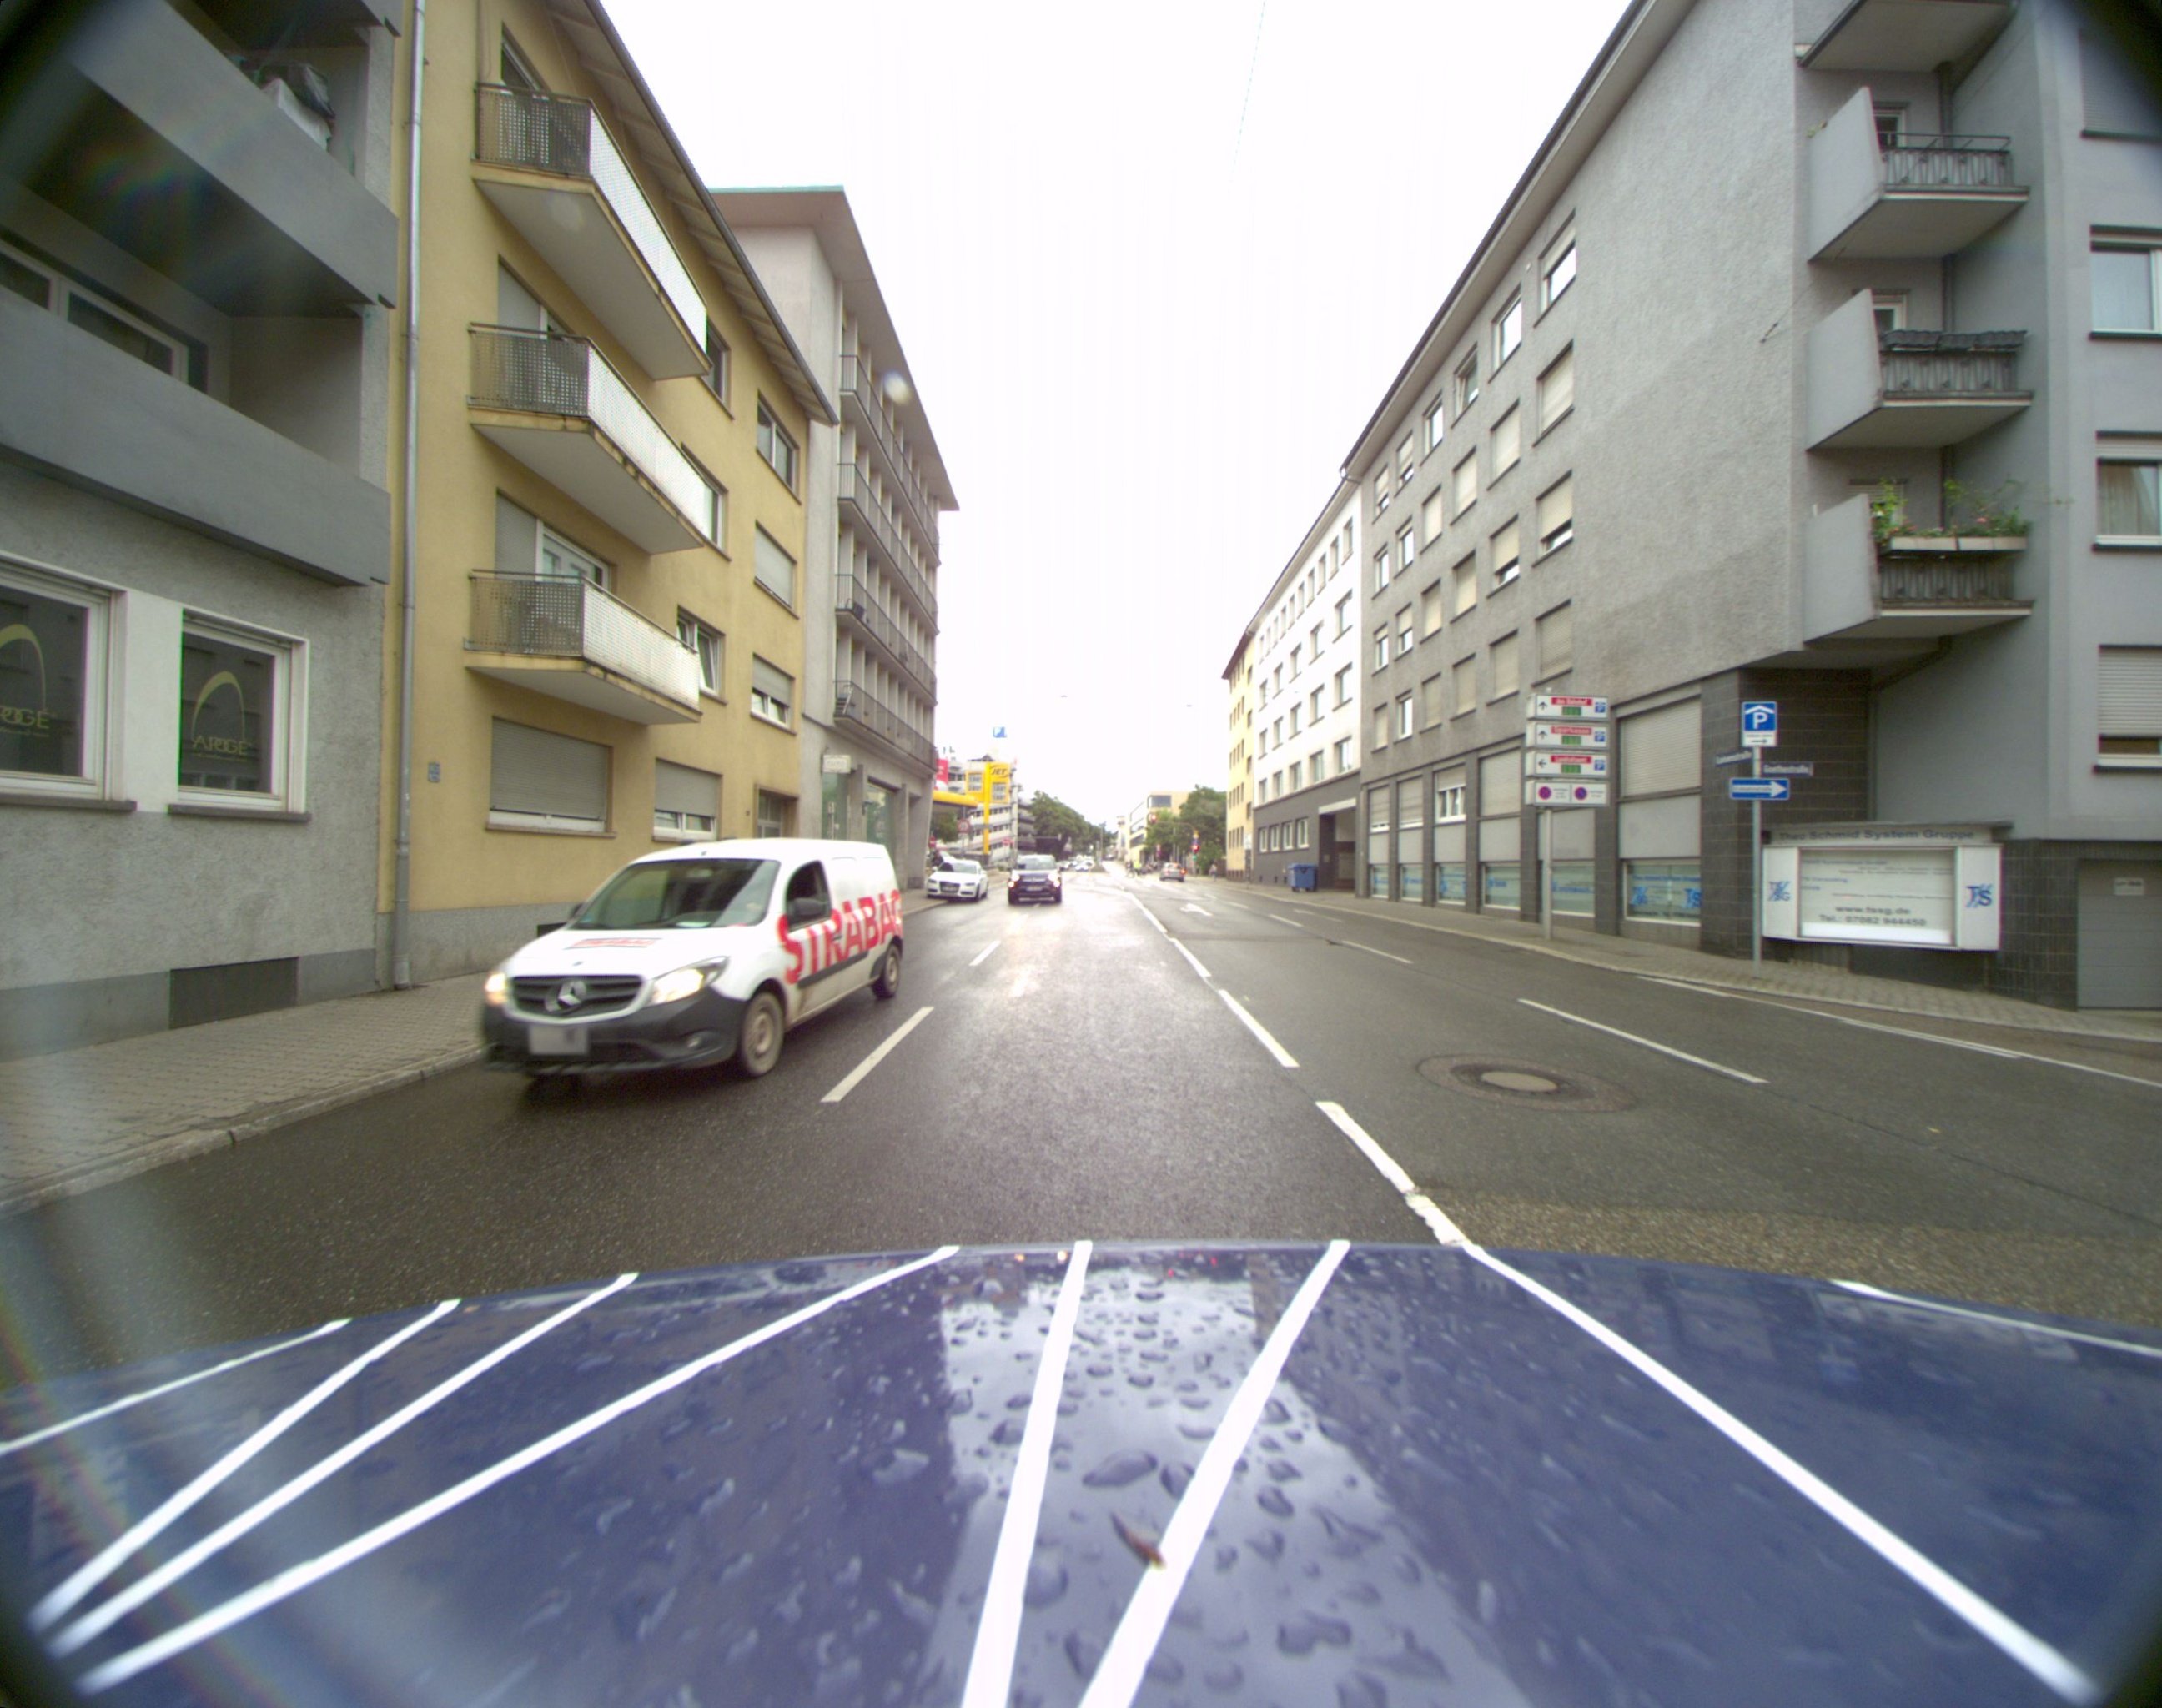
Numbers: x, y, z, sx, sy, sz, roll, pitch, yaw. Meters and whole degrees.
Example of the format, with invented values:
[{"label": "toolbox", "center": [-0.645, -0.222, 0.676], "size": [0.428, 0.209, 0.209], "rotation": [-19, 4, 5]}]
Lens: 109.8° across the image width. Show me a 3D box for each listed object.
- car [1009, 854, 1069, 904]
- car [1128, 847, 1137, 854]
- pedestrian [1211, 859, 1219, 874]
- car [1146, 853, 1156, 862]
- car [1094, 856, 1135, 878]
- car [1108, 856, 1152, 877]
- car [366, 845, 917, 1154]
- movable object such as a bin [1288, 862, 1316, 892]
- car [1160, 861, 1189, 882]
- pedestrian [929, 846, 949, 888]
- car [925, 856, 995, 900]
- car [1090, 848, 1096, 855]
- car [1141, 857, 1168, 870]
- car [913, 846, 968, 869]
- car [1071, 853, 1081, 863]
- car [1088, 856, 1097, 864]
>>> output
[{"label": "car", "center": [-1.385, 0.810, 26.446], "size": [1.771, 1.571, 4.000], "rotation": [-1, 0, 1]}, {"label": "car", "center": [12.972, -0.913, 191.758], "size": [1.998, 1.683, 4.000], "rotation": [-2, 1, 2]}, {"label": "pedestrian", "center": [10.652, 0.981, 60.259], "size": [0.582, 1.143, 0.407], "rotation": [3, 1, 12]}, {"label": "car", "center": [15.555, 0.757, 168.916], "size": [1.998, 1.863, 3.999], "rotation": [-2, 1, 1]}, {"label": "car", "center": [3.151, 1.238, 71.846], "size": [3.794, 1.823, 1.692], "rotation": [-3, 0, 2]}, {"label": "car", "center": [4.456, 1.149, 69.712], "size": [3.929, 1.706, 1.902], "rotation": [-3, 0, 2]}, {"label": "car", "center": [-3.080, 0.843, 6.791], "size": [1.945, 1.764, 4.747], "rotation": [-2, 0, 3]}, {"label": "movable object such as a bin", "center": [10.358, 1.084, 35.669], "size": [0.946, 1.325, 1.096], "rotation": [-3, 0, 1]}, {"label": "car", "center": [7.445, 1.349, 60.999], "size": [1.883, 1.580, 4.373], "rotation": [0, 0, 1]}, {"label": "pedestrian", "center": [-6.127, 0.553, 32.849], "size": [0.679, 1.745, 0.888], "rotation": [1, 1, 2]}, {"label": "car", "center": [-4.362, 0.835, 27.940], "size": [1.803, 1.427, 4.166], "rotation": [1, 0, 1]}, {"label": "car", "center": [3.797, -0.806, 239.620], "size": [1.998, 2.002, 3.999], "rotation": [-2, 1, 1]}, {"label": "car", "center": [11.423, 1.488, 118.439], "size": [3.995, 1.736, 2.000], "rotation": [-2, 1, 5]}, {"label": "car", "center": [-10.164, 0.248, 54.951], "size": [3.989, 1.465, 1.775], "rotation": [-2, 1, 41]}, {"label": "car", "center": [-1.133, 0.857, 167.921], "size": [1.998, 2.002, 3.999], "rotation": [-2, 1, 1]}, {"label": "car", "center": [2.525, 1.332, 173.416], "size": [1.998, 1.736, 3.999], "rotation": [-2, 1, 1]}]
